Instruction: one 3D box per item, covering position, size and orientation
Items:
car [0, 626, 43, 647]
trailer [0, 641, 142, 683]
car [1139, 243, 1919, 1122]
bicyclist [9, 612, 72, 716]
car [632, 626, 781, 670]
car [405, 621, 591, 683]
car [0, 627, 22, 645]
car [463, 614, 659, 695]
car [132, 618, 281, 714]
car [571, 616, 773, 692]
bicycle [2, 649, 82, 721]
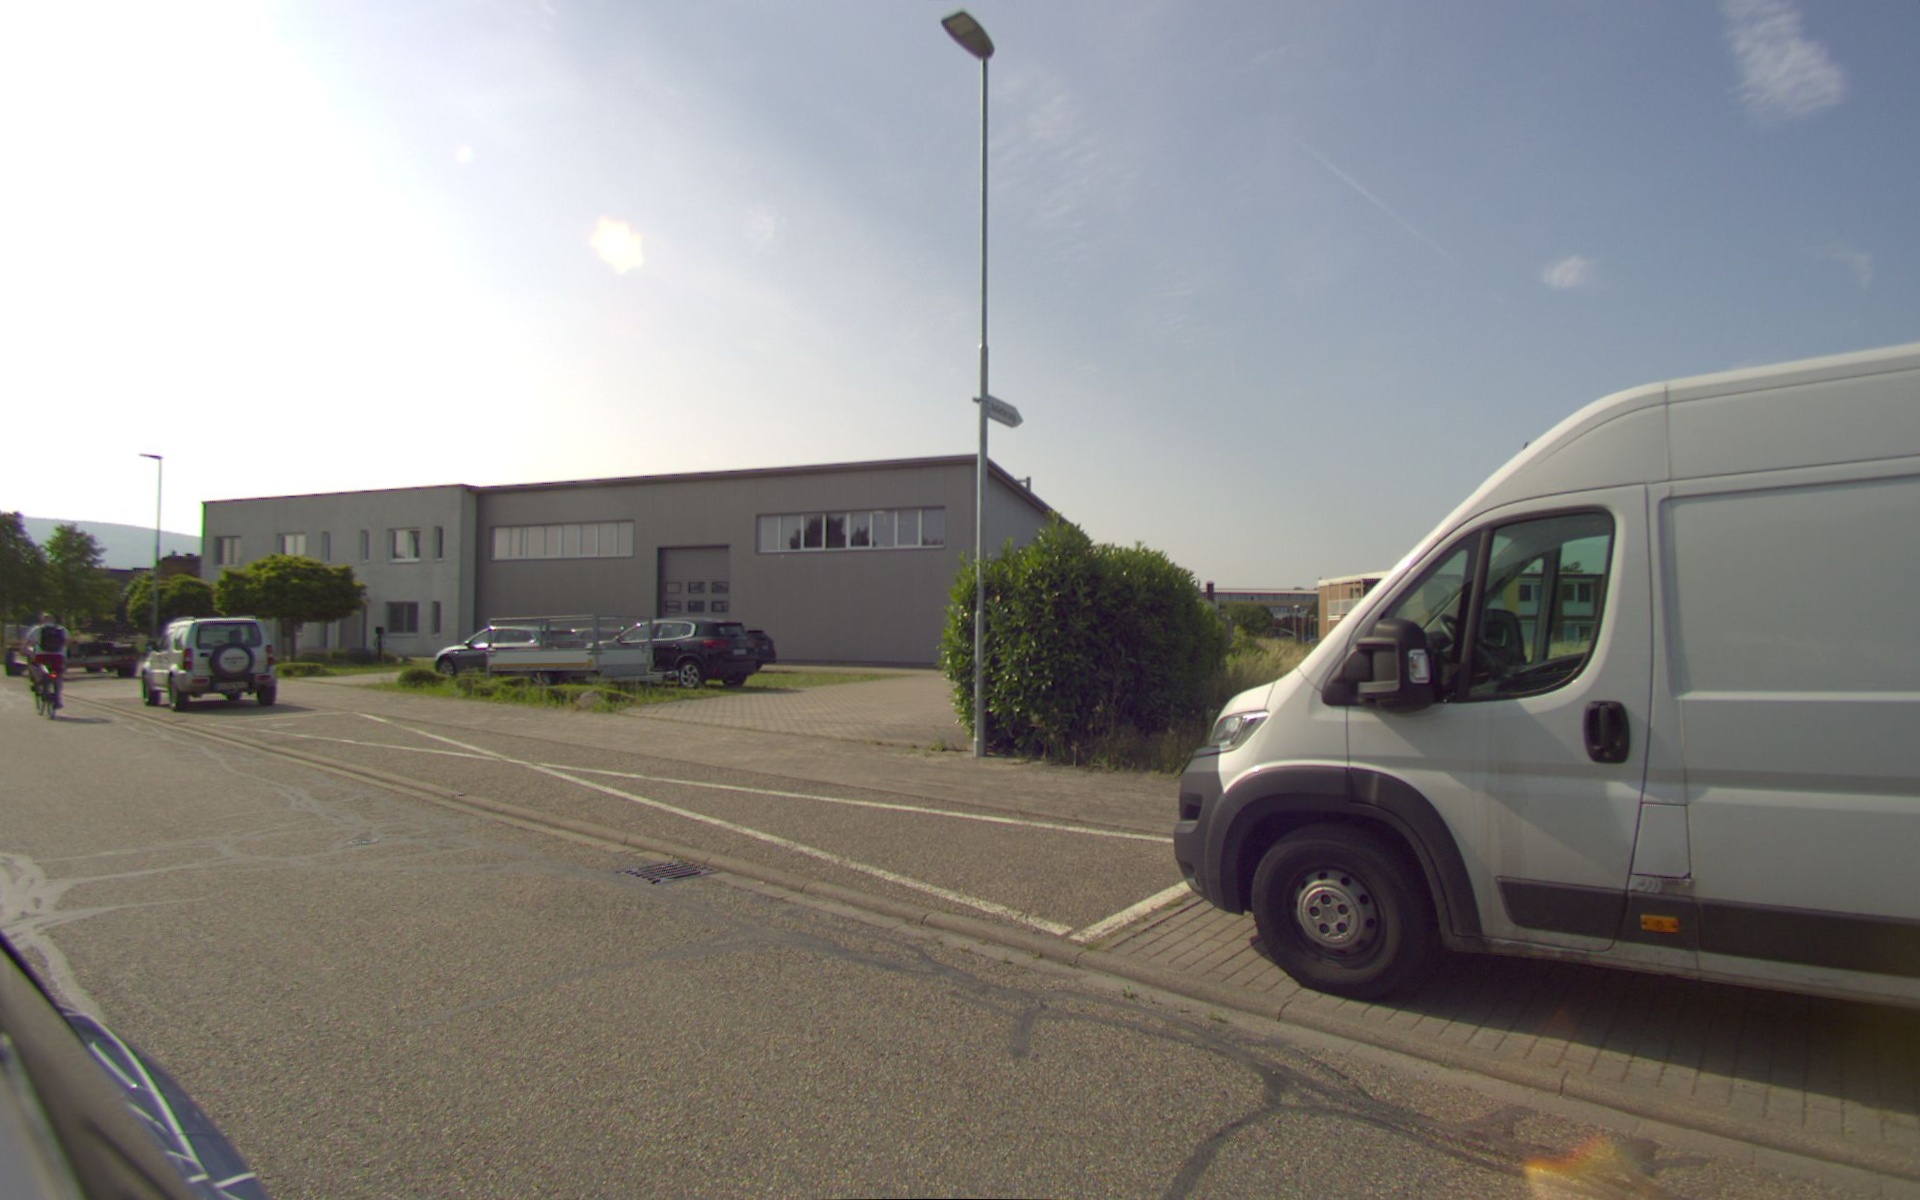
[{"bbox_3d":[-78.016,3.000,83.022,1.999,1.741,3.944,-2,-2,42],"label":"car"},{"bbox_3d":[-28.769,1.885,32.320,9.726,1.082,2.519,-2,-1,41],"label":"trailer"},{"bbox_3d":[4.021,0.222,3.408,6.495,2.614,2.082,-1,0,38],"label":"car"},{"bbox_3d":[-15.831,1.082,17.421,1.165,1.732,0.632,-2,-3,41],"label":"bicyclist"},{"bbox_3d":[-8.128,1.521,32.497,4.320,1.335,1.981,-1,-2,22],"label":"car"},{"bbox_3d":[-11.874,1.303,26.023,4.394,1.487,1.966,-1,-2,24],"label":"car"},{"bbox_3d":[-94.520,3.513,98.750,1.985,1.807,3.974,-1,-2,19],"label":"car"},{"bbox_3d":[-8.586,1.124,21.806,3.794,1.584,1.824,-1,0,25],"label":"car"},{"bbox_3d":[-14.568,1.212,19.510,3.642,1.663,1.580,-2,-2,41],"label":"car"},{"bbox_3d":[-6.818,1.228,23.961,4.394,1.671,1.980,-1,-2,24],"label":"car"},{"bbox_3d":[-15.792,1.434,17.385,2.218,1.131,0.708,-2,-5,41],"label":"bicycle"}]
